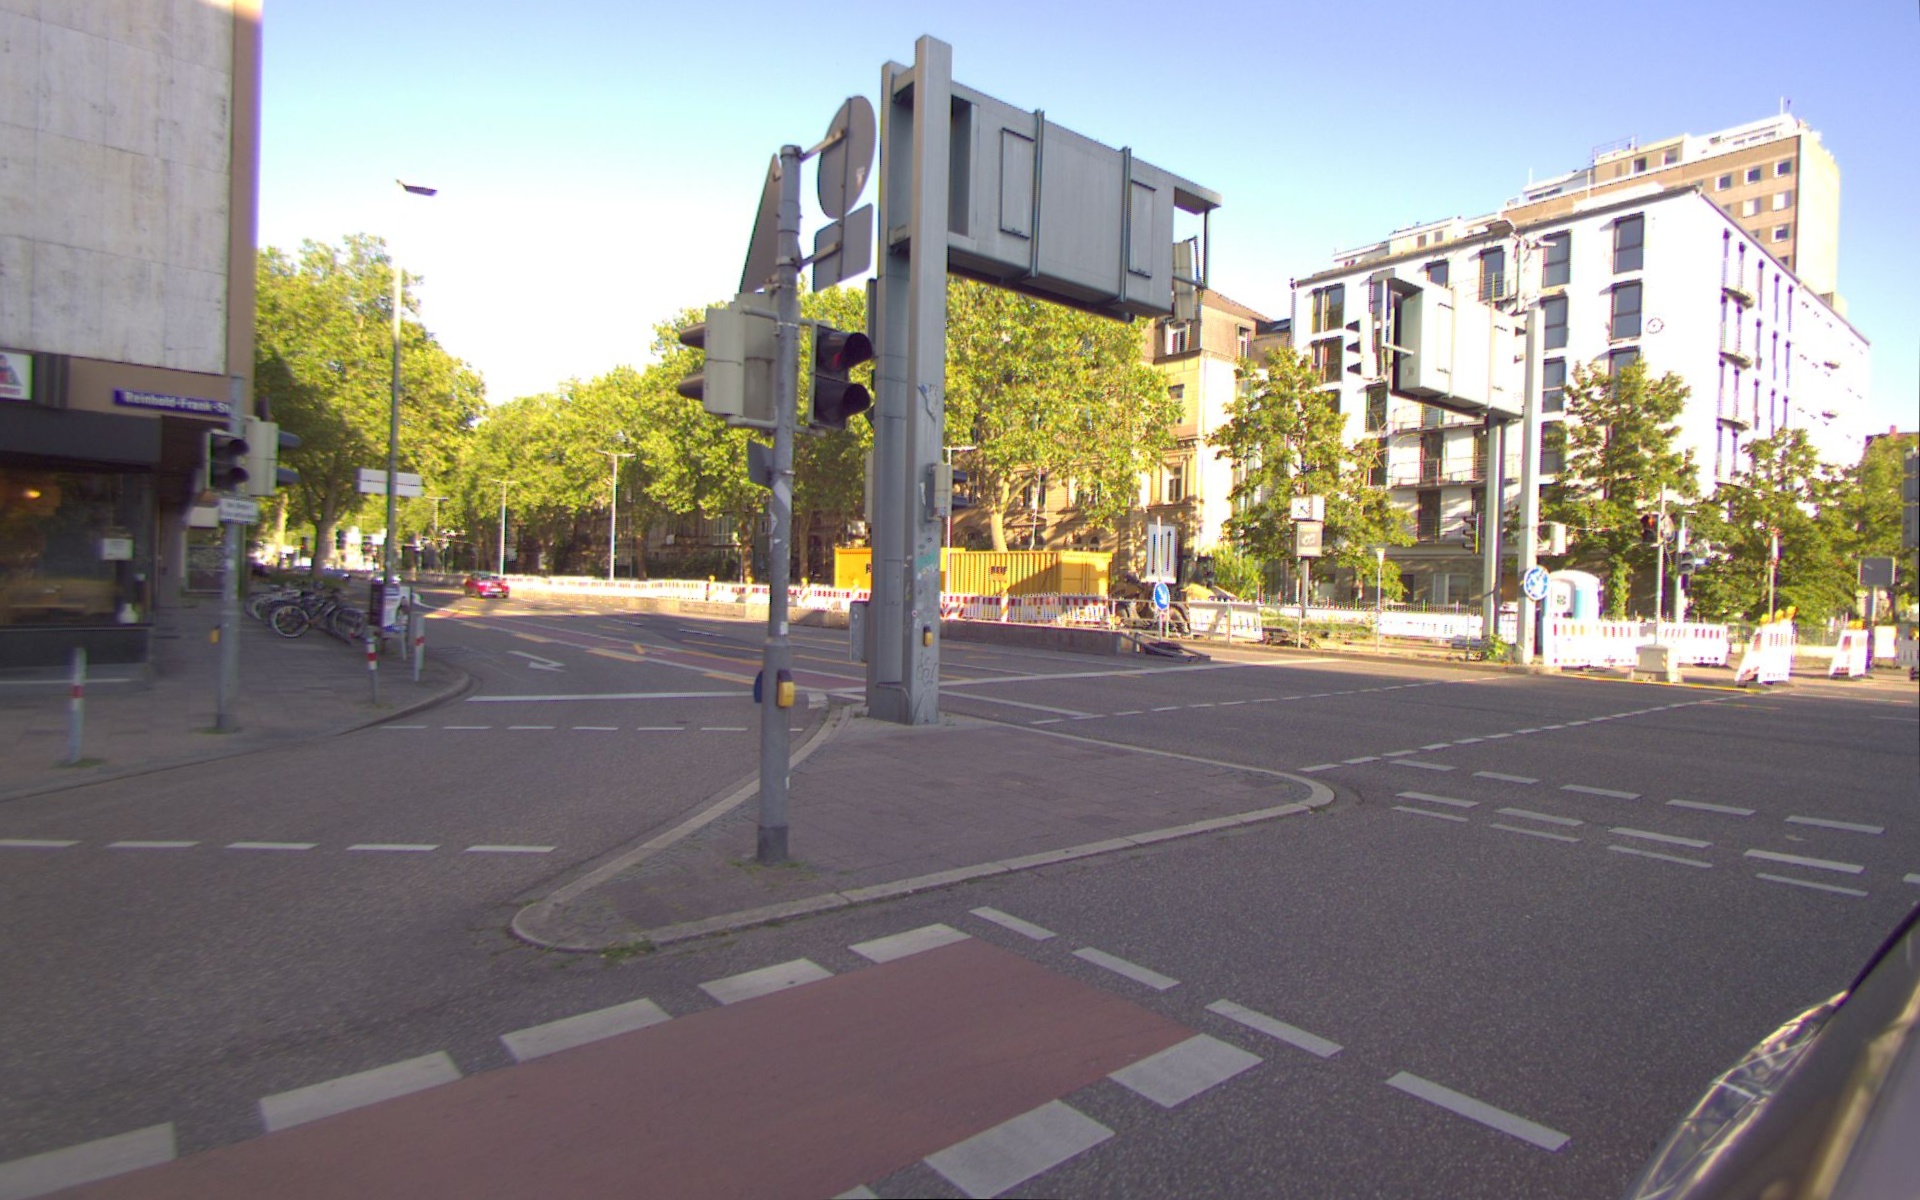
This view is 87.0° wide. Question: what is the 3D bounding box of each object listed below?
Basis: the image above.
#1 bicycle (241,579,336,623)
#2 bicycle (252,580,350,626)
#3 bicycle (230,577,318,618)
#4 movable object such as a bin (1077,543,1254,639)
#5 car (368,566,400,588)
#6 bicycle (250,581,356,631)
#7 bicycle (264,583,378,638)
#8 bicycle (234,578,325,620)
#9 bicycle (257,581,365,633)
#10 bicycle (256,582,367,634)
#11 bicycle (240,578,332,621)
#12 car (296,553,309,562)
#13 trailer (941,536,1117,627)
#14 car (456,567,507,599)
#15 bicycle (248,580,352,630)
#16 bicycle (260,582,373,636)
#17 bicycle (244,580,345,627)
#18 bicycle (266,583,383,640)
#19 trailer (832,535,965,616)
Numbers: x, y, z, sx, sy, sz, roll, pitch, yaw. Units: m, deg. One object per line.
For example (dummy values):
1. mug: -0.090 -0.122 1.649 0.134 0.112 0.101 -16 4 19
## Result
1. bicycle: -17.451 0.031 26.345 1.974 1.110 0.526 1 1 -45
2. bicycle: -16.428 0.076 25.275 1.974 1.110 0.526 1 1 -45
3. bicycle: -19.273 -0.051 28.481 1.974 1.110 0.526 1 1 -45
4. movable object such as a bin: 6.040 -0.308 30.421 1.962 2.626 5.215 1 1 -36
5. car: -48.836 -1.975 85.770 1.739 1.727 3.997 1 1 -39
6. bicycle: -15.156 0.140 23.376 1.973 1.110 0.527 1 0 -43
7. bicycle: -13.384 0.221 21.244 1.970 1.110 0.528 1 0 -37
8. bicycle: -18.545 -0.018 27.608 1.974 1.110 0.526 1 1 -45
9. bicycle: -14.676 0.160 22.914 1.974 1.110 0.526 1 1 -45
10. bicycle: -14.330 0.177 22.408 1.974 1.110 0.526 1 1 -45
11. bicycle: -18.056 0.003 27.142 1.974 1.110 0.526 1 1 -45
12. car: -128.535 -8.280 197.718 1.739 1.727 3.997 1 1 -39
13. trailer: 2.270 -0.653 35.194 2.497 2.903 6.122 1 1 -40
14. car: -27.717 -0.981 58.548 1.739 1.727 3.997 1 1 -39
15. bicycle: -15.540 0.122 23.864 1.973 1.110 0.527 1 0 -43
16. bicycle: -13.924 0.195 21.941 1.974 1.110 0.526 1 1 -45
17. bicycle: -16.180 0.092 24.627 1.974 1.110 0.526 1 1 -45
18. bicycle: -12.963 0.241 20.686 1.970 1.110 0.528 1 0 -37
19. trailer: -2.617 -0.989 41.278 2.362 3.053 6.128 1 1 -37
